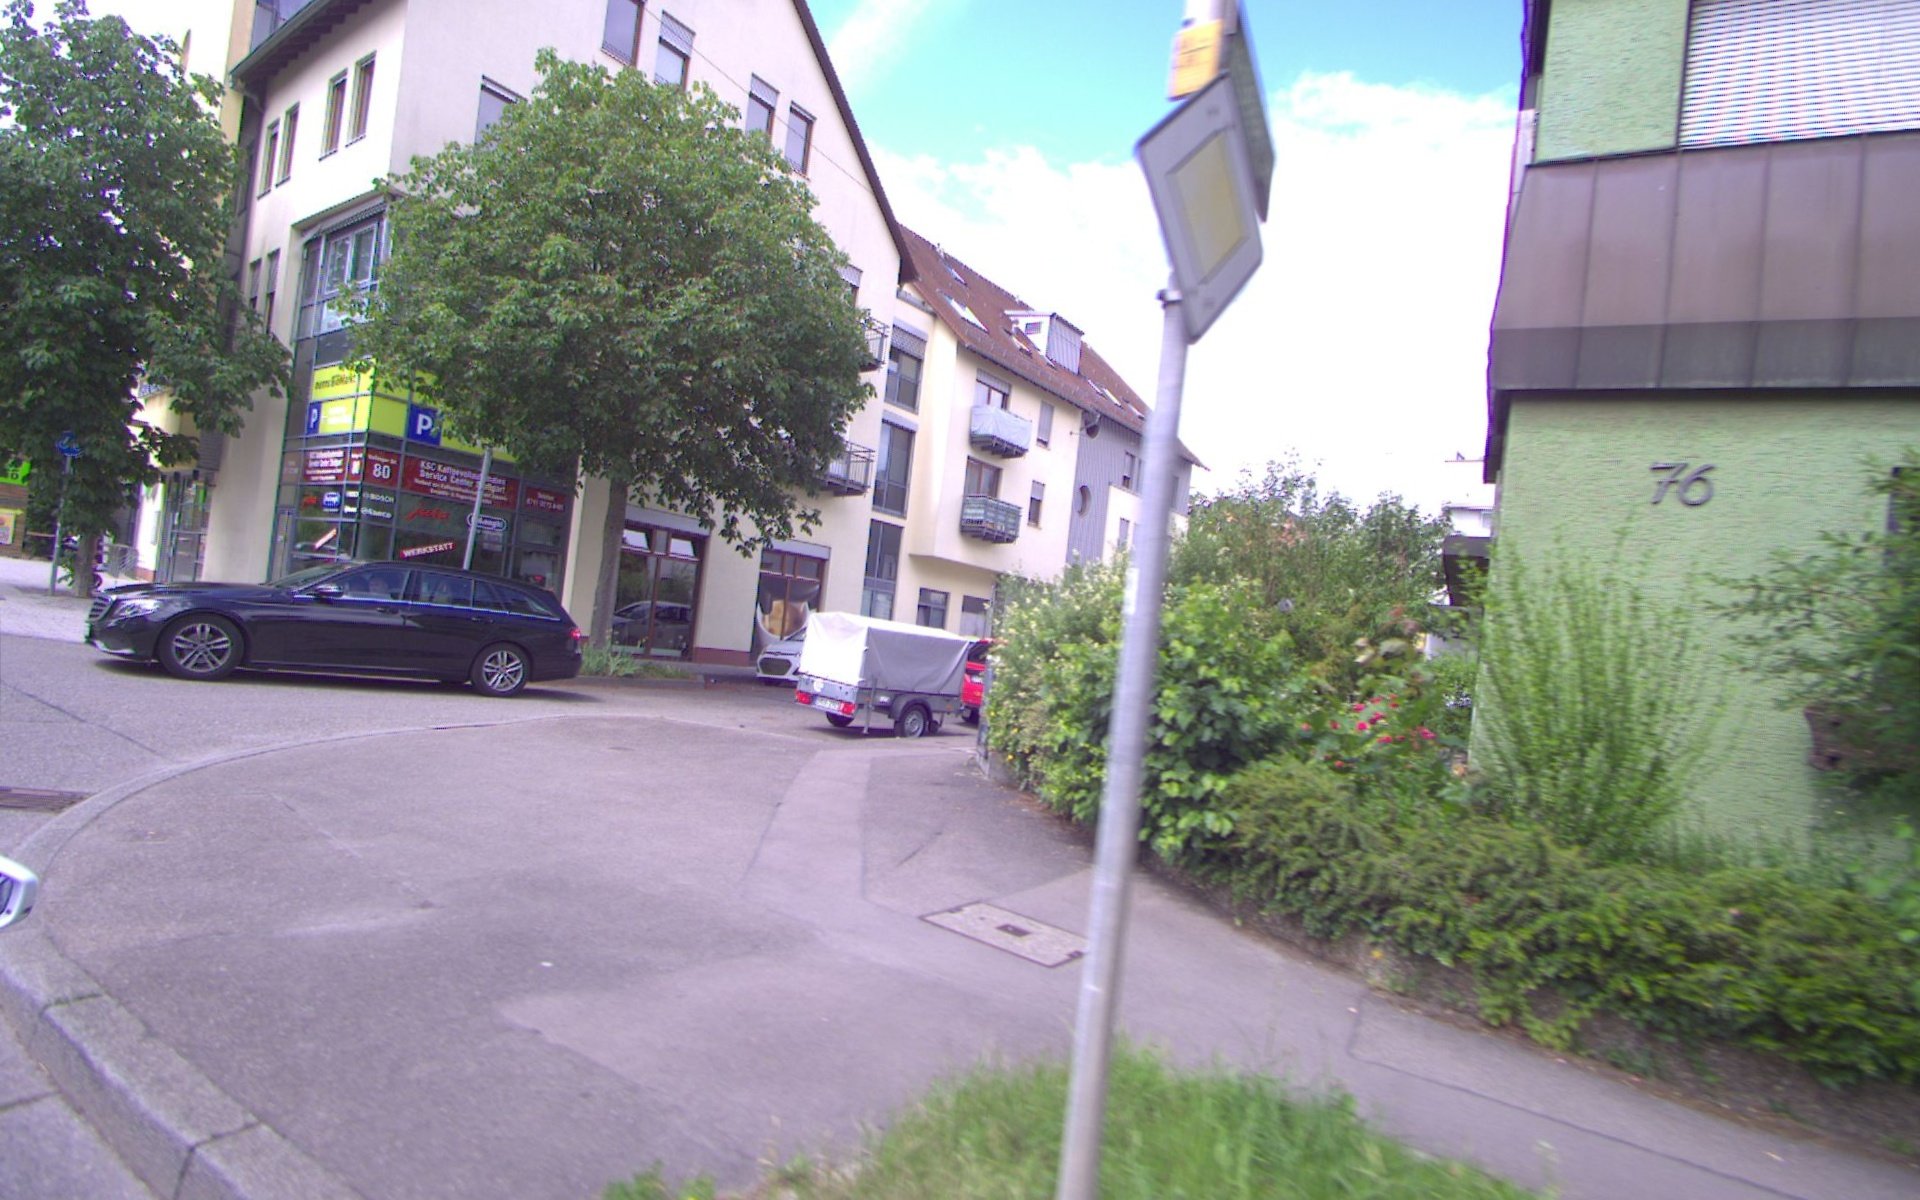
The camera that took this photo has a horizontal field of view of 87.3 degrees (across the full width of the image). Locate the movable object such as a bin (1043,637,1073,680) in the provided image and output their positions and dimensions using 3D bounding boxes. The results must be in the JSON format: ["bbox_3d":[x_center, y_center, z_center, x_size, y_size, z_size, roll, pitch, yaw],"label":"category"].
[{"bbox_3d":[3.544,2.103,36.394,0.759,1.436,0.596,5,-3,37],"label":"movable object such as a bin"}]

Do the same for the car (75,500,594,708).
[{"bbox_3d":[-6.937,0.164,11.602,1.787,1.646,4.666,5,-4,44],"label":"car"}]

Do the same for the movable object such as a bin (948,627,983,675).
[{"bbox_3d":[0.166,1.627,32.314,0.759,1.436,0.596,5,-3,37],"label":"movable object such as a bin"}]

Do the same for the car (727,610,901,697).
[{"bbox_3d":[-3.144,1.225,22.273,1.705,1.461,3.600,5,-4,34],"label":"car"}]

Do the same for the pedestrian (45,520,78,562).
[{"bbox_3d":[-27.750,-1.832,31.069,0.493,1.195,0.522,6,-2,34],"label":"pedestrian"}]

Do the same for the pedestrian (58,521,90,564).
[{"bbox_3d":[-27.049,-1.753,30.715,0.497,1.217,0.576,5,-3,44],"label":"pedestrian"}]

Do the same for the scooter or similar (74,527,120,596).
[{"bbox_3d":[-17.765,-0.810,20.694,1.439,1.331,0.380,5,-3,41],"label":"scooter or similar"}]

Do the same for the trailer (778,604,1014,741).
[{"bbox_3d":[-0.822,1.067,14.240,1.373,1.600,3.156,7,-1,41],"label":"trailer"}]

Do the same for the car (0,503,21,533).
[{"bbox_3d":[-57.956,-5.165,58.997,1.780,1.632,4.330,10,-5,-7],"label":"car"}]

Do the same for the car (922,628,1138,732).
[{"bbox_3d":[1.362,1.435,17.687,1.705,1.463,4.244,5,-2,36],"label":"car"}]

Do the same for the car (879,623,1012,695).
[{"bbox_3d":[-0.297,1.568,26.129,1.554,1.461,3.600,5,-4,34],"label":"car"}]
